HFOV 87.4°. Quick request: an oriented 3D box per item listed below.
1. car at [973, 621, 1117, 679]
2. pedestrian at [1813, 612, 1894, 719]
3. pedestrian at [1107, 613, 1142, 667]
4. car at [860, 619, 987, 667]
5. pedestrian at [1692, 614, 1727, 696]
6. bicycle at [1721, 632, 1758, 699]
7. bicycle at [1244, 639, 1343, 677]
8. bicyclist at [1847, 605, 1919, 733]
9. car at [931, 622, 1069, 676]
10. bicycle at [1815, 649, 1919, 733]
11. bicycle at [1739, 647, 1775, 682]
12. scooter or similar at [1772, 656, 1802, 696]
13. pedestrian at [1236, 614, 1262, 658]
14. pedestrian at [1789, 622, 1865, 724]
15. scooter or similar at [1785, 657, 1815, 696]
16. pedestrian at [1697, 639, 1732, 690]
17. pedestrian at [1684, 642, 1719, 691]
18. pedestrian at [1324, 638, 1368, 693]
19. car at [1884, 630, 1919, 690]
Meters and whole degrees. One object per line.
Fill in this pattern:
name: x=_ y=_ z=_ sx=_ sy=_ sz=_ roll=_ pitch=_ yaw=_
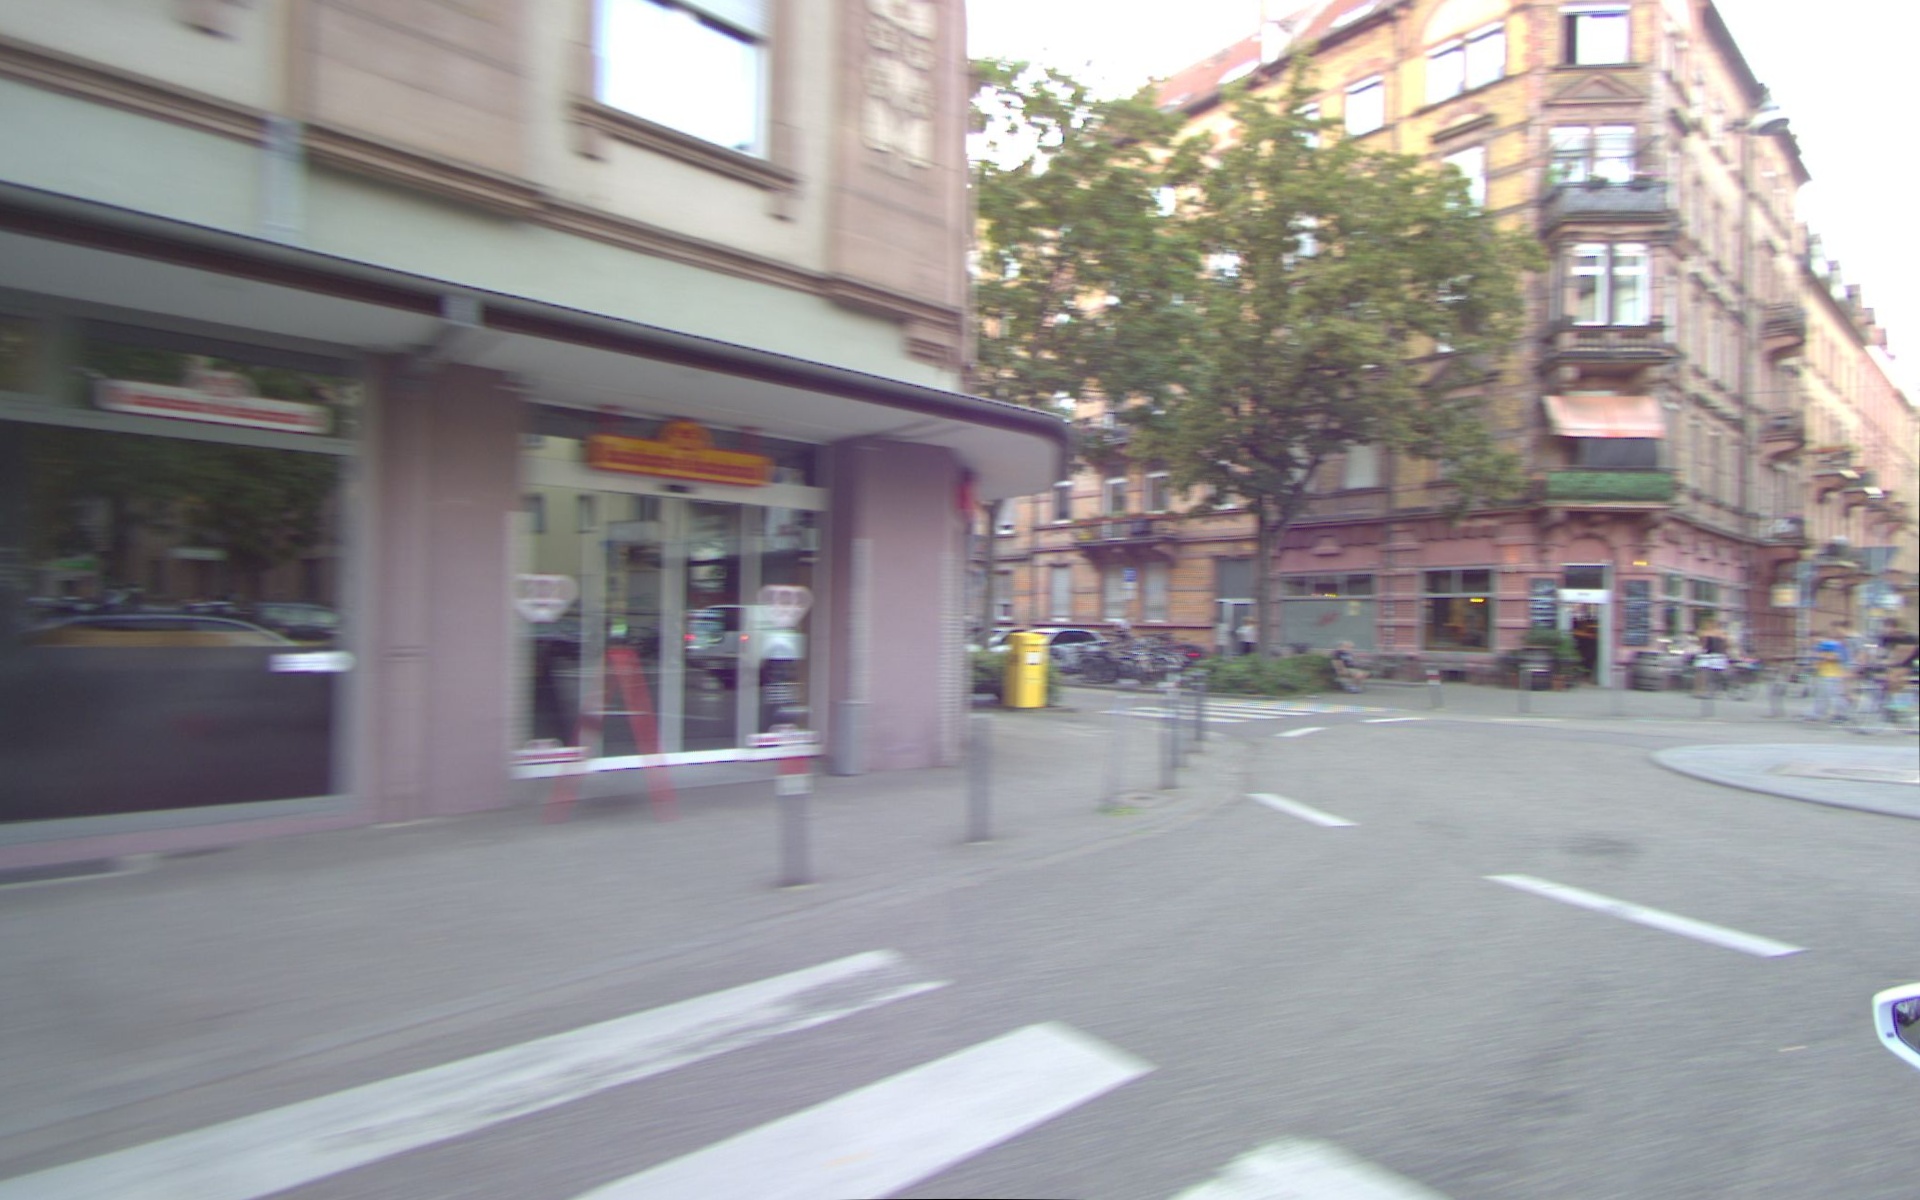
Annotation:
car: x=2.717 y=1.564 z=31.592 sx=4.464 sy=1.599 sz=1.975 roll=3 pitch=-1 yaw=-42
pedestrian: x=16.534 y=1.194 z=18.607 sx=0.888 sy=1.910 sz=0.616 roll=2 pitch=0 yaw=19
pedestrian: x=5.417 y=1.307 z=33.056 sx=0.660 sy=1.748 sz=0.914 roll=2 pitch=0 yaw=-32
car: x=-1.307 y=1.595 z=37.345 sx=4.464 sy=1.599 sz=1.975 roll=3 pitch=-1 yaw=-42
pedestrian: x=17.380 y=1.264 z=23.292 sx=0.496 sy=1.864 sz=0.572 roll=2 pitch=0 yaw=27
bicycle: x=17.868 y=1.476 z=23.004 sx=0.419 sy=1.461 sz=1.893 roll=2 pitch=-1 yaw=44
bicycle: x=9.957 y=1.719 z=30.144 sx=0.621 sy=0.971 sz=2.870 roll=3 pitch=-1 yaw=-41
bicyclist: x=14.481 y=1.041 z=15.464 sx=0.862 sy=1.901 sz=0.839 roll=2 pitch=0 yaw=-8
car: x=1.395 y=1.625 z=33.551 sx=4.464 sy=1.599 sz=1.975 roll=3 pitch=-1 yaw=-42
bicycle: x=14.409 y=1.395 z=15.451 sx=1.900 sy=1.187 sz=0.839 roll=2 pitch=0 yaw=-9
bicycle: x=25.193 y=2.025 z=31.739 sx=2.463 sy=1.050 sz=0.384 roll=3 pitch=-1 yaw=-41
scooter or similar: x=21.163 y=1.933 z=25.703 sx=0.229 sy=0.941 sz=1.265 roll=2 pitch=-1 yaw=24
pedestrian: x=8.742 y=1.085 z=30.425 sx=0.566 sy=1.279 sz=0.455 roll=2 pitch=0 yaw=-16
pedestrian: x=15.708 y=1.301 z=18.215 sx=0.610 sy=1.759 sz=0.897 roll=2 pitch=0 yaw=-37
scooter or similar: x=21.400 y=1.942 z=25.599 sx=0.229 sy=0.941 sz=1.265 roll=2 pitch=-1 yaw=24
pedestrian: x=20.186 y=1.719 z=26.879 sx=0.536 sy=1.303 sz=0.642 roll=3 pitch=0 yaw=-44
pedestrian: x=19.284 y=1.720 z=26.122 sx=0.536 sy=1.206 sz=0.642 roll=3 pitch=0 yaw=-44
pedestrian: x=9.365 y=1.575 z=24.368 sx=0.663 sy=1.279 sz=0.747 roll=3 pitch=0 yaw=-41
car: x=30.469 y=1.889 z=31.486 sx=3.970 sy=1.773 sz=1.818 roll=3 pitch=-1 yaw=-42
